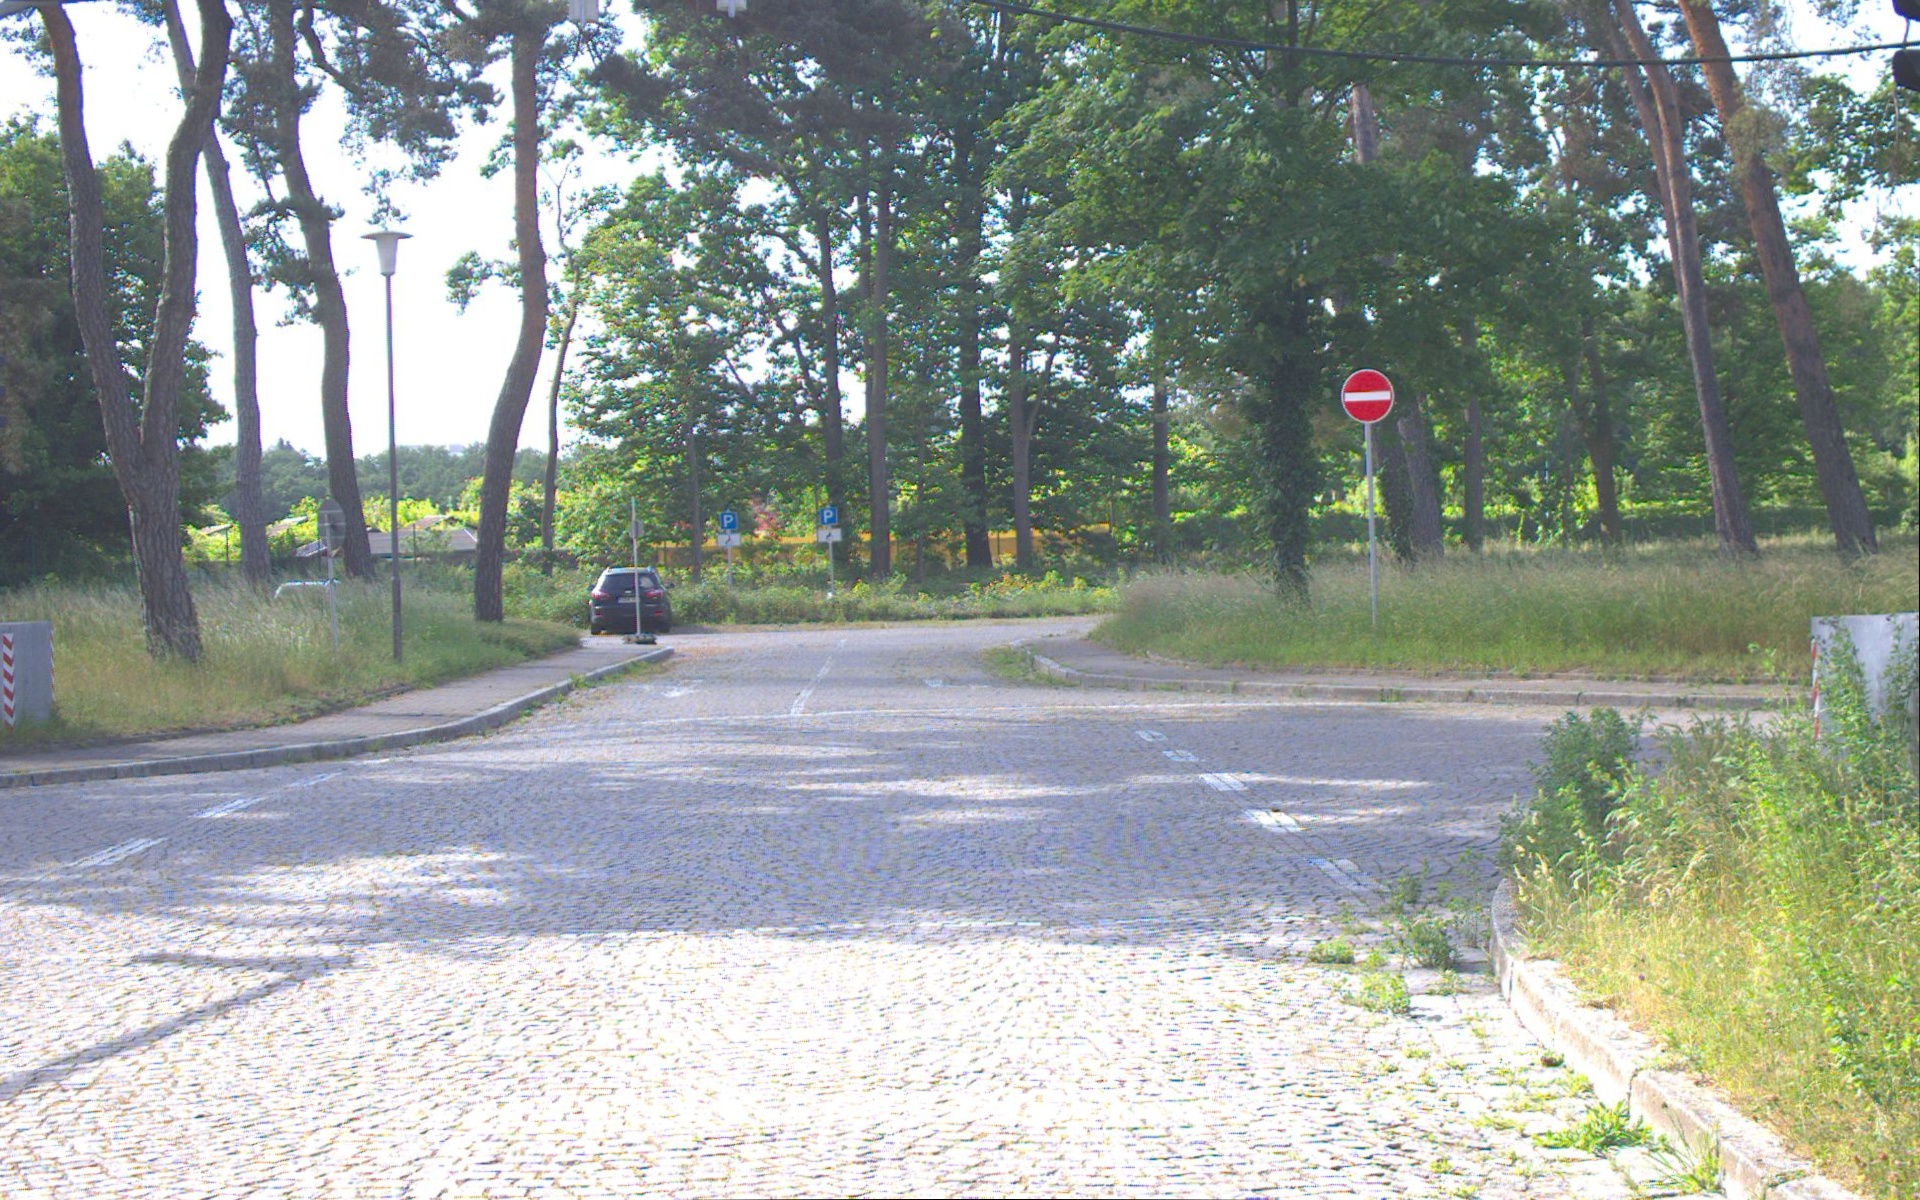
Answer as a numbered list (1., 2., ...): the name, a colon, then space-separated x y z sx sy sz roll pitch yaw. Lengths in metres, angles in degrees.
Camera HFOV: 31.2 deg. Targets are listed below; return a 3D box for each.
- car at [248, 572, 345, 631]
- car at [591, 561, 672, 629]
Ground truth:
1. car: -15.613 0.012 81.069 1.709 1.269 3.919 -2 1 -3
2. car: -7.663 -0.141 80.423 1.709 1.491 3.919 -2 1 -3
